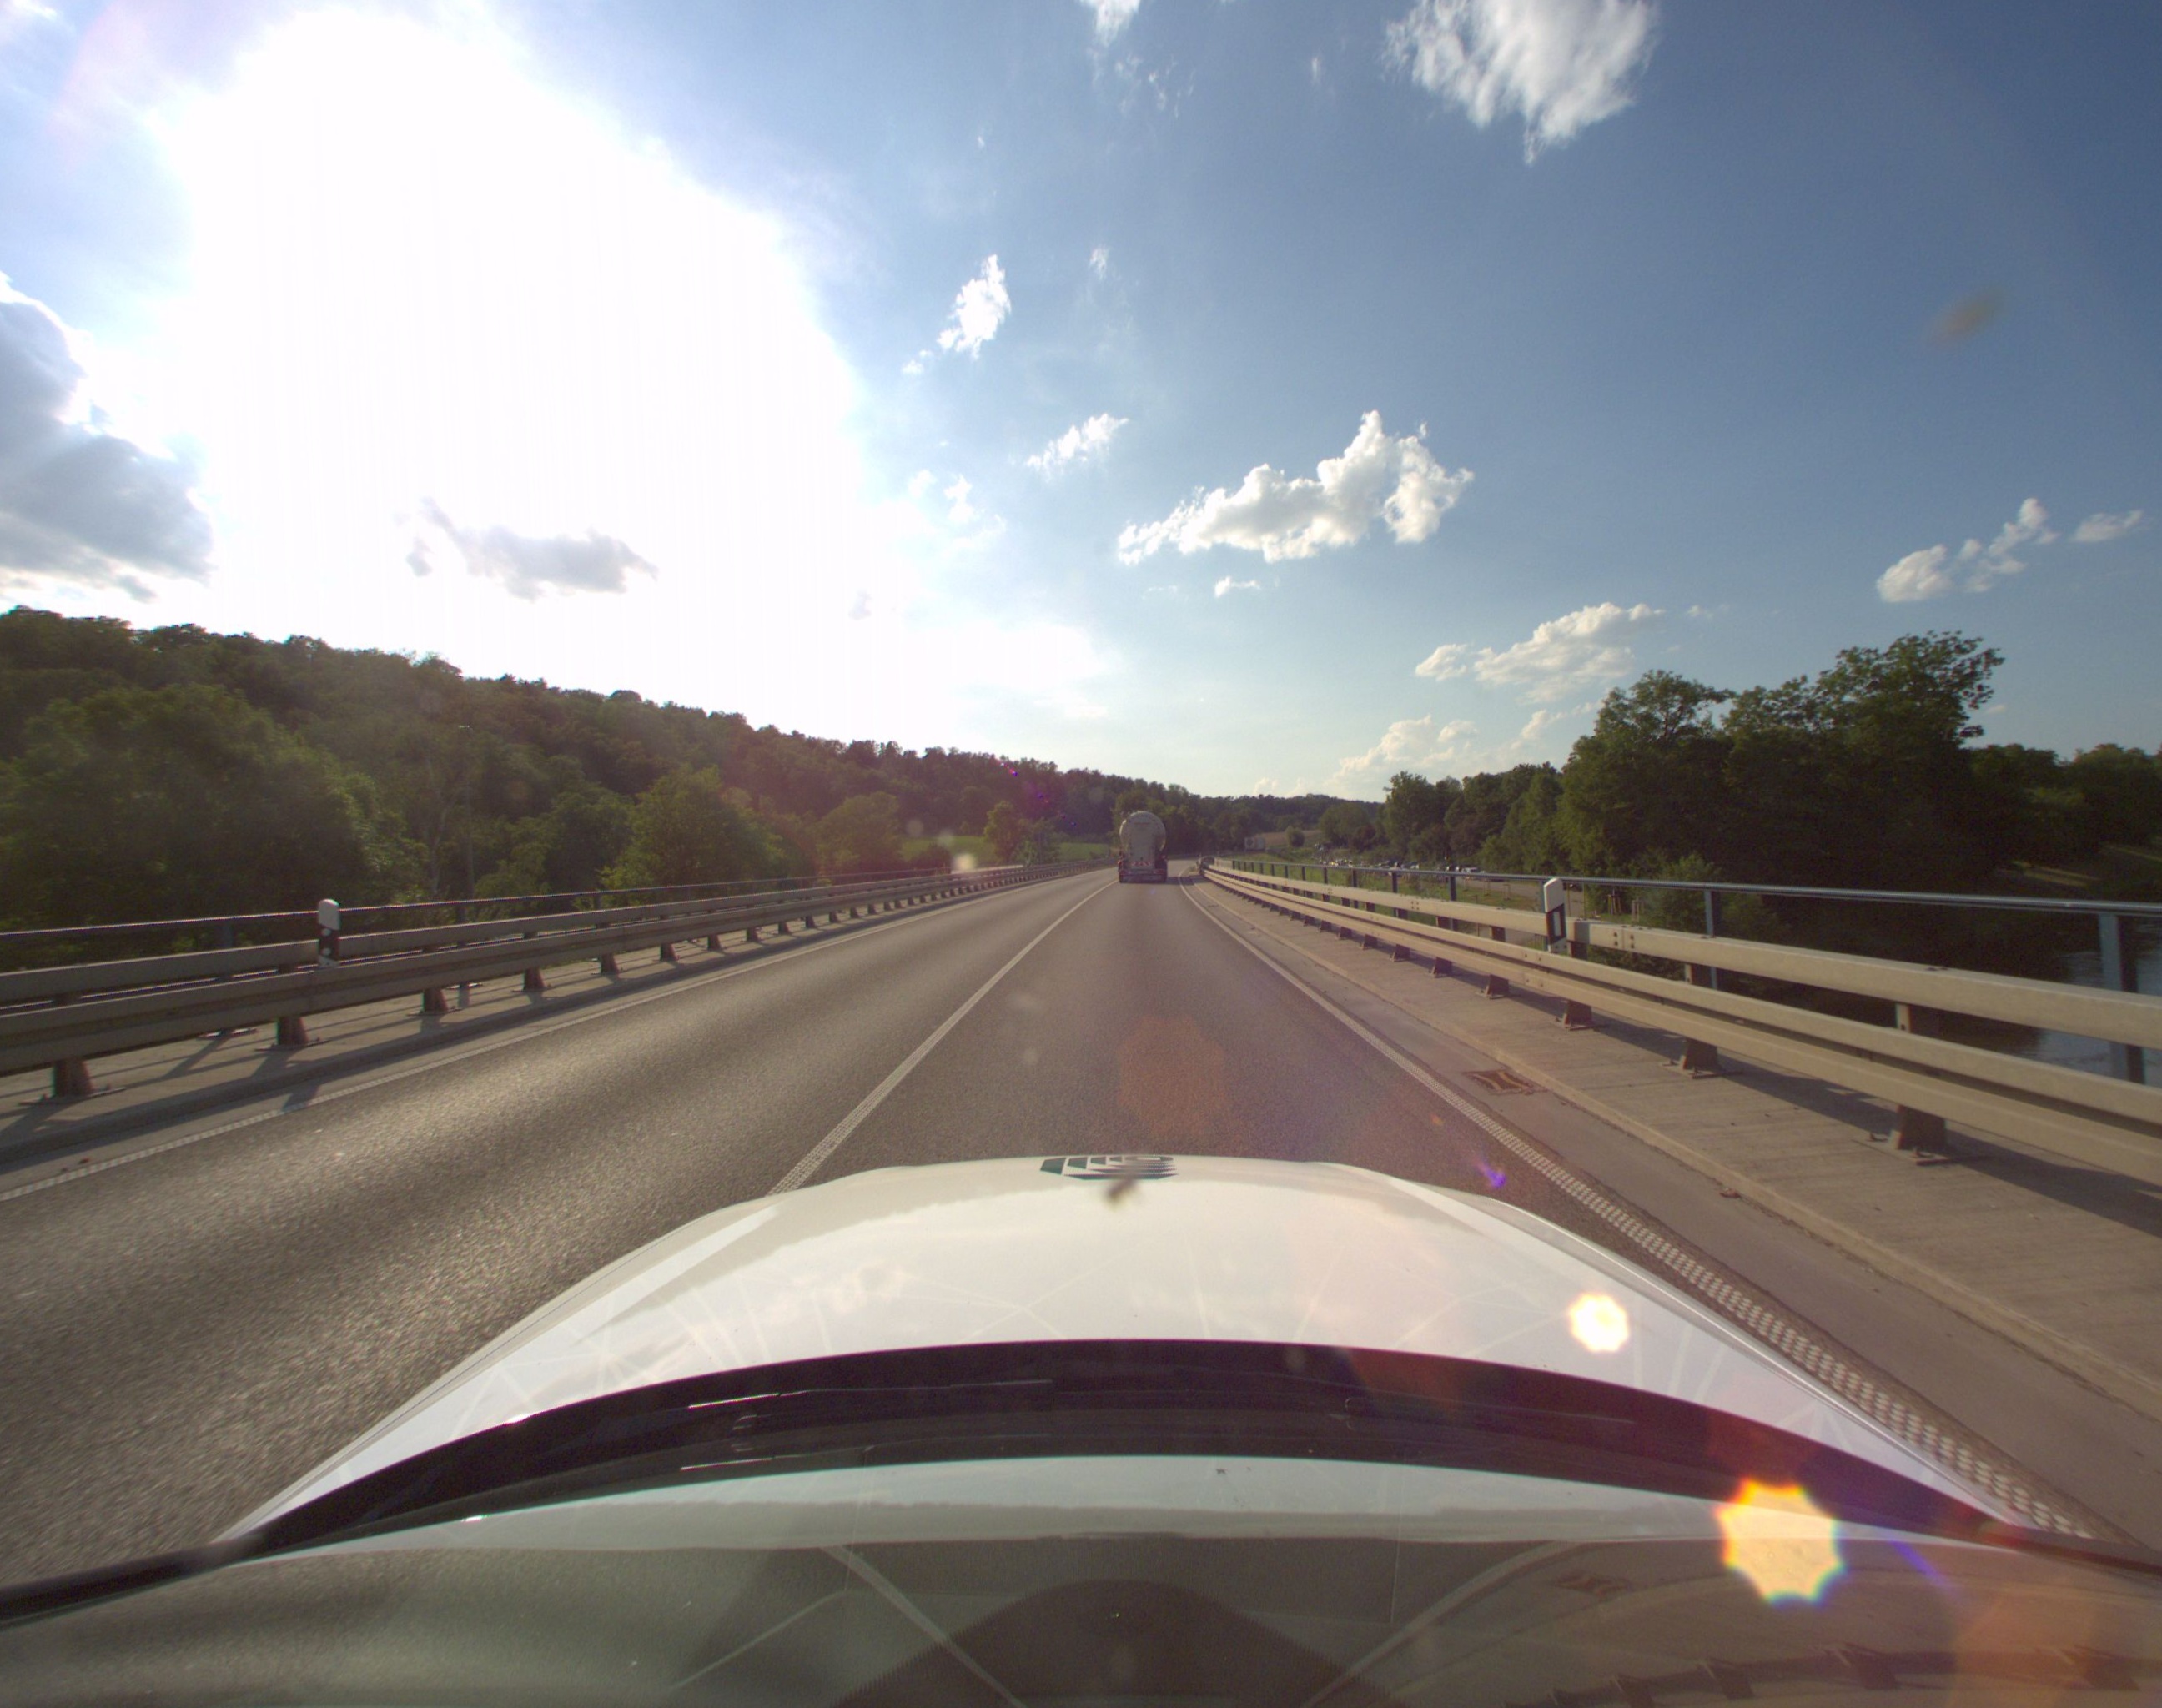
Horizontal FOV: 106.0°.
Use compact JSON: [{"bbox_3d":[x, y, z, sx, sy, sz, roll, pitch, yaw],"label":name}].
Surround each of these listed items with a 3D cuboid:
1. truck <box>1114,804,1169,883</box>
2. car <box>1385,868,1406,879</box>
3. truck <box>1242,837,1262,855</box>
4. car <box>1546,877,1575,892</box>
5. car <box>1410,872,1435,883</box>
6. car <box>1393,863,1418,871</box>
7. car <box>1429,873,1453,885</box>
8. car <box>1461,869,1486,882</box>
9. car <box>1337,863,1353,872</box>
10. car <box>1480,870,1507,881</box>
[{"bbox_3d":[3.840,-0.522,49.269,2.878,4.143,13.193,-1,0,6],"label":"truck"},{"bbox_3d":[52.544,3.294,136.231,1.813,1.482,4.255,-3,1,-1],"label":"car"},{"bbox_3d":[41.656,-2.017,197.806,3.158,4.227,13.235,-2,1,18],"label":"truck"},{"bbox_3d":[55.465,3.516,94.318,1.644,1.496,3.839,-2,0,10],"label":"car"},{"bbox_3d":[52.138,3.516,124.376,1.813,1.401,4.255,-3,1,-1],"label":"car"},{"bbox_3d":[64.104,2.530,160.692,4.217,1.604,1.834,0,0,2],"label":"car"},{"bbox_3d":[52.044,3.611,117.815,1.649,1.496,4.223,-2,0,1],"label":"car"},{"bbox_3d":[57.300,3.116,118.936,1.647,1.666,4.713,-2,0,4],"label":"car"},{"bbox_3d":[54.358,2.784,167.956,1.884,1.482,4.786,-5,1,3],"label":"car"},{"bbox_3d":[56.944,2.971,112.585,1.649,1.496,4.223,-2,0,1],"label":"car"}]
